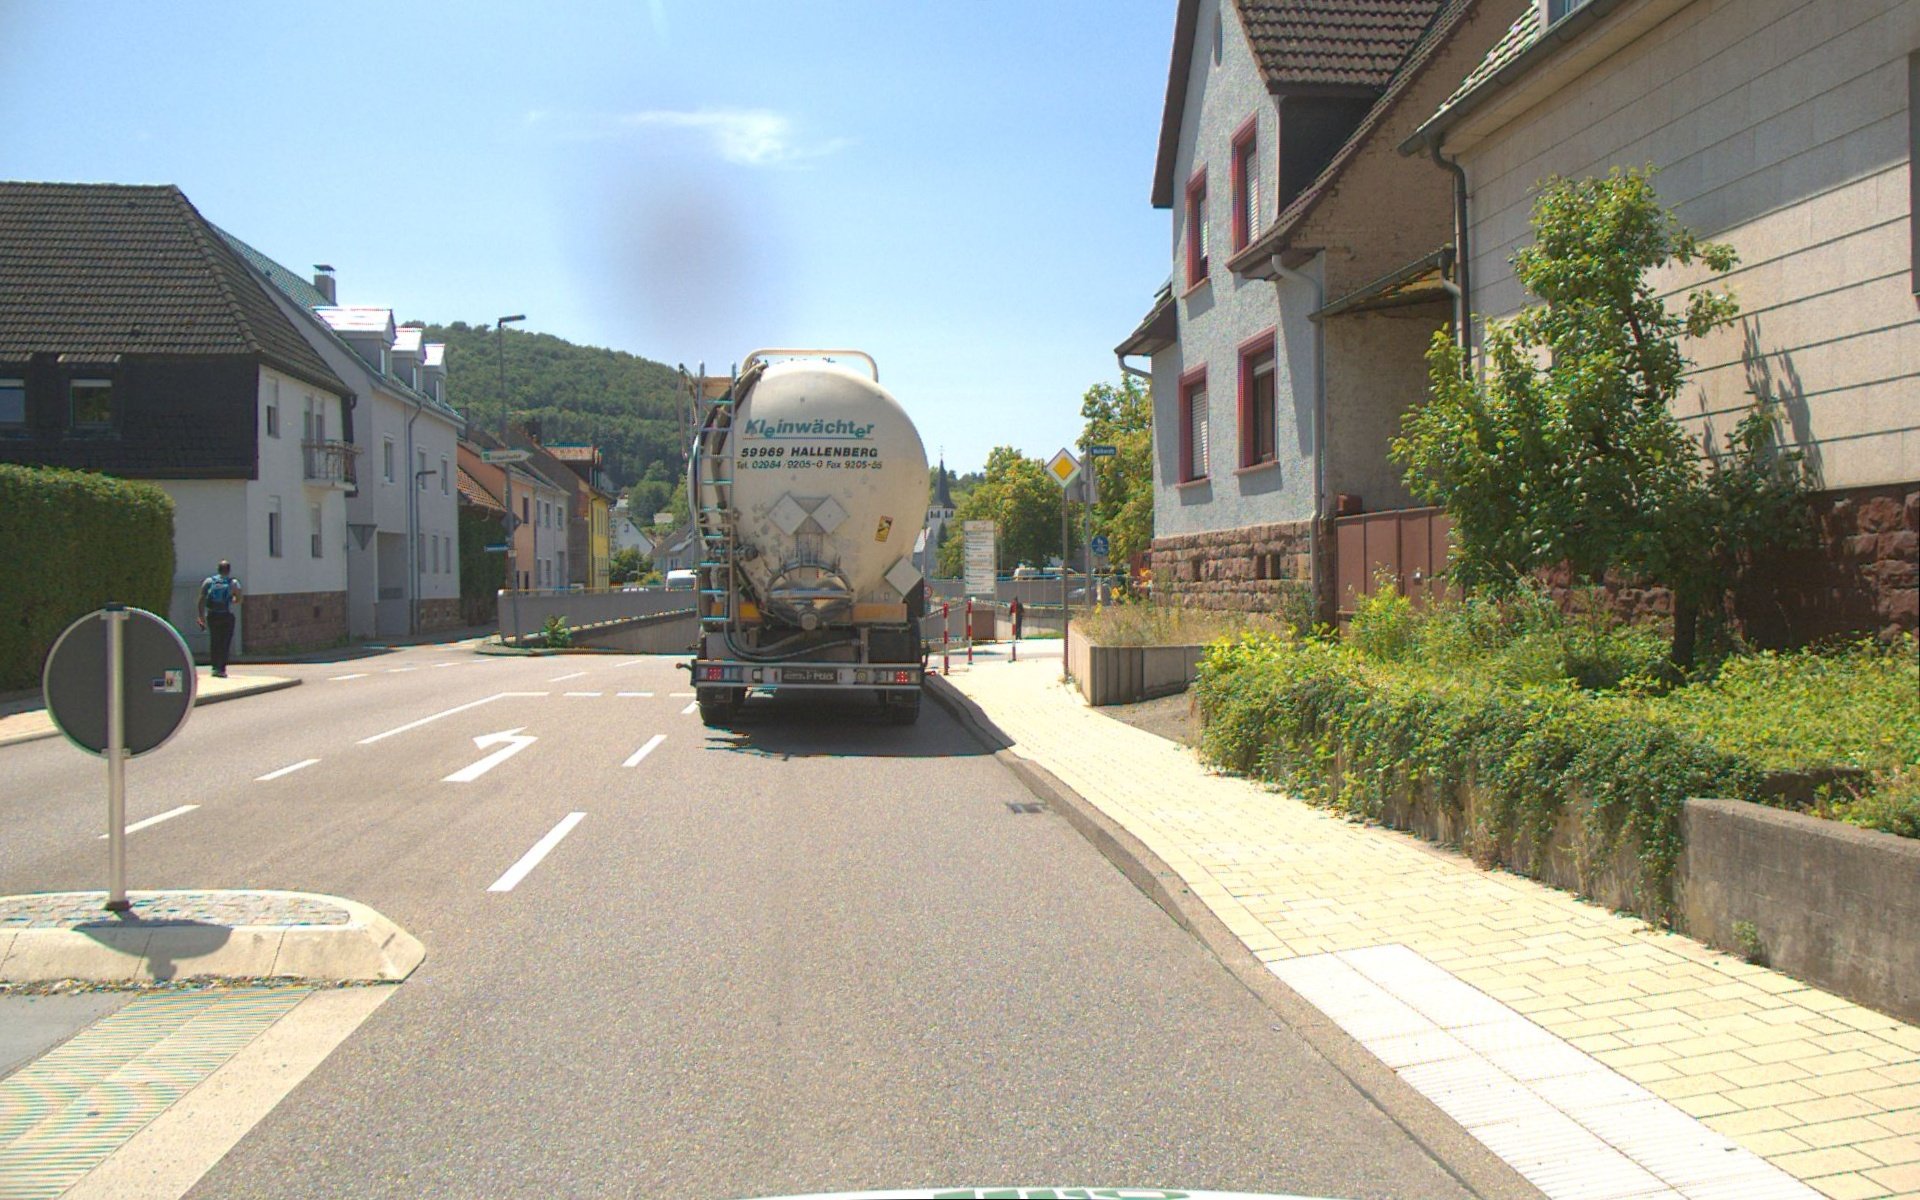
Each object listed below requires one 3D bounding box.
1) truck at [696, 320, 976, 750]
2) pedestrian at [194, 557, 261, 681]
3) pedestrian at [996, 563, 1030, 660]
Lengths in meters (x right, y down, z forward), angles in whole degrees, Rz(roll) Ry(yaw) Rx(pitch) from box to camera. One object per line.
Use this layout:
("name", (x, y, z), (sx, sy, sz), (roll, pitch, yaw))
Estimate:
("truck", (-1.819, -0.654, 21.426), (2.698, 4.127, 10.873), (0, 0, -7))
("pedestrian", (-11.230, 0.295, 25.386), (0.699, 1.855, 0.896), (1, -1, -10))
("pedestrian", (0.957, 0.208, 29.979), (0.559, 1.723, 0.720), (1, -1, -2))
